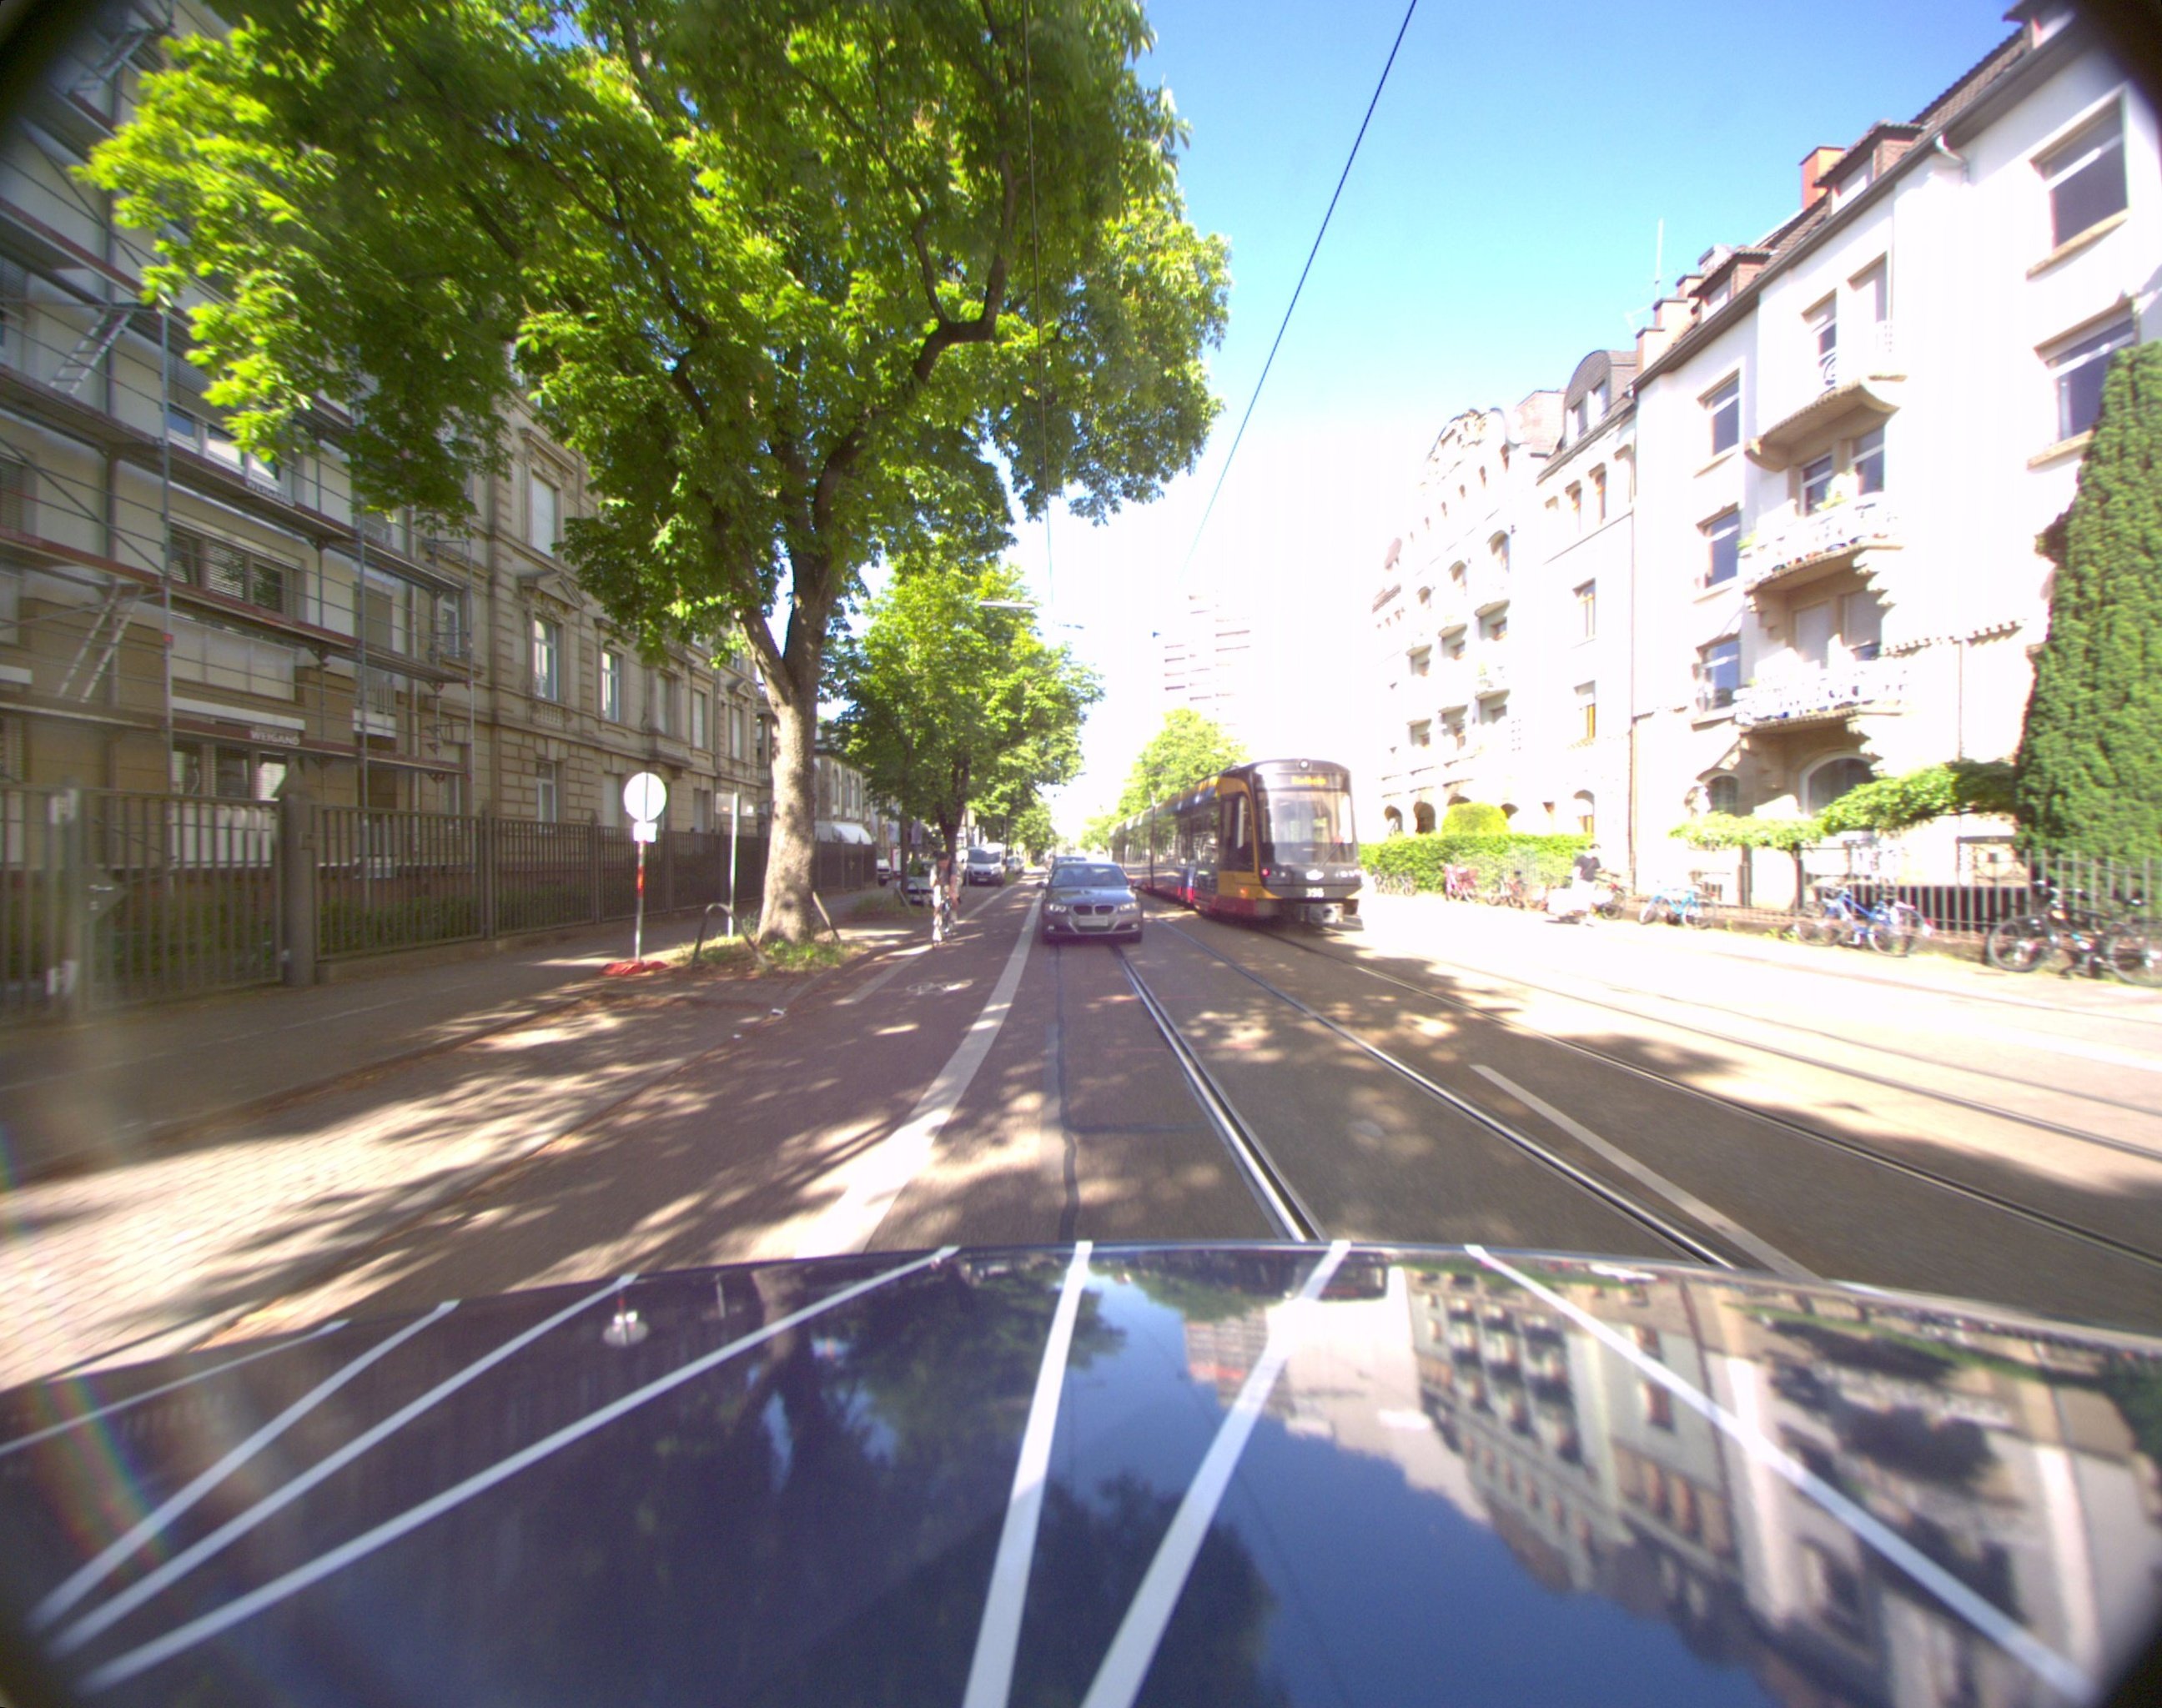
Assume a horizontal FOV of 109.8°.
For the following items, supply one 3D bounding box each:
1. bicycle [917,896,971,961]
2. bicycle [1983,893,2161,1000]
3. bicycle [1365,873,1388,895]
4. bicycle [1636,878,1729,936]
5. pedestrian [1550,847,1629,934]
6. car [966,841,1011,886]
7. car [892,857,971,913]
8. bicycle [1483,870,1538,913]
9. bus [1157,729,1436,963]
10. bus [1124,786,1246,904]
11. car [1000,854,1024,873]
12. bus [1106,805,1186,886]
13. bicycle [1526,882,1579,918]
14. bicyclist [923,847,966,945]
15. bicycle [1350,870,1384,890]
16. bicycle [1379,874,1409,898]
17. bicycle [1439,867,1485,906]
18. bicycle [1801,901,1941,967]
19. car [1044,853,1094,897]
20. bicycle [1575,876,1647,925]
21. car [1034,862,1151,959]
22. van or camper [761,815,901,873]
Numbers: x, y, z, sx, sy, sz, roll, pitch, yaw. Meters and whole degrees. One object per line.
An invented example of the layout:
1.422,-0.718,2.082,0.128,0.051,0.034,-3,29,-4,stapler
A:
-2.381,1.268,13.426,0.535,0.917,2.056,-1,1,1,bicycle
11.666,1.023,8.778,0.405,1.033,1.748,-1,1,0,bicycle
10.928,1.110,28.102,0.339,0.757,1.263,-1,1,0,bicycle
11.401,0.976,14.468,0.405,0.937,1.748,-1,1,0,bicycle
10.134,0.707,15.163,0.869,1.619,0.870,-5,1,0,pedestrian
-5.112,0.478,42.778,2.132,2.329,5.803,1,1,-3,car
-4.657,0.922,24.274,1.877,1.534,4.364,1,1,-3,car
11.197,0.952,19.879,0.405,1.018,1.816,-1,1,0,bicycle
4.154,-0.205,18.499,2.857,3.755,12.193,-1,1,-2,bus
3.694,-0.359,30.252,2.867,3.755,11.179,-1,1,-2,bus
-5.915,0.808,65.715,1.867,1.541,4.101,-1,1,-3,car
3.262,-0.468,41.628,2.867,3.755,11.493,-1,1,-2,bus
11.211,1.076,18.113,0.318,0.757,1.542,-1,1,0,bicycle
-2.388,0.713,13.365,0.532,1.660,0.878,-1,1,1,bicyclist
11.771,1.061,31.281,1.262,0.789,0.297,-1,1,0,bicycle
10.946,1.104,26.597,0.405,0.757,1.581,-1,1,0,bicycle
11.089,0.935,22.170,0.405,1.018,1.816,-1,1,0,bicycle
11.373,1.129,11.015,0.318,0.757,1.652,-1,1,0,bicycle
-0.433,0.794,30.547,1.828,1.559,3.999,-1,1,0,car
11.344,0.970,16.323,0.405,0.937,1.648,-1,1,0,bicycle
0.190,0.939,14.294,1.870,1.426,3.999,-1,1,0,car
-12.229,-0.435,37.110,6.721,2.612,2.126,-1,1,23,van or camper
